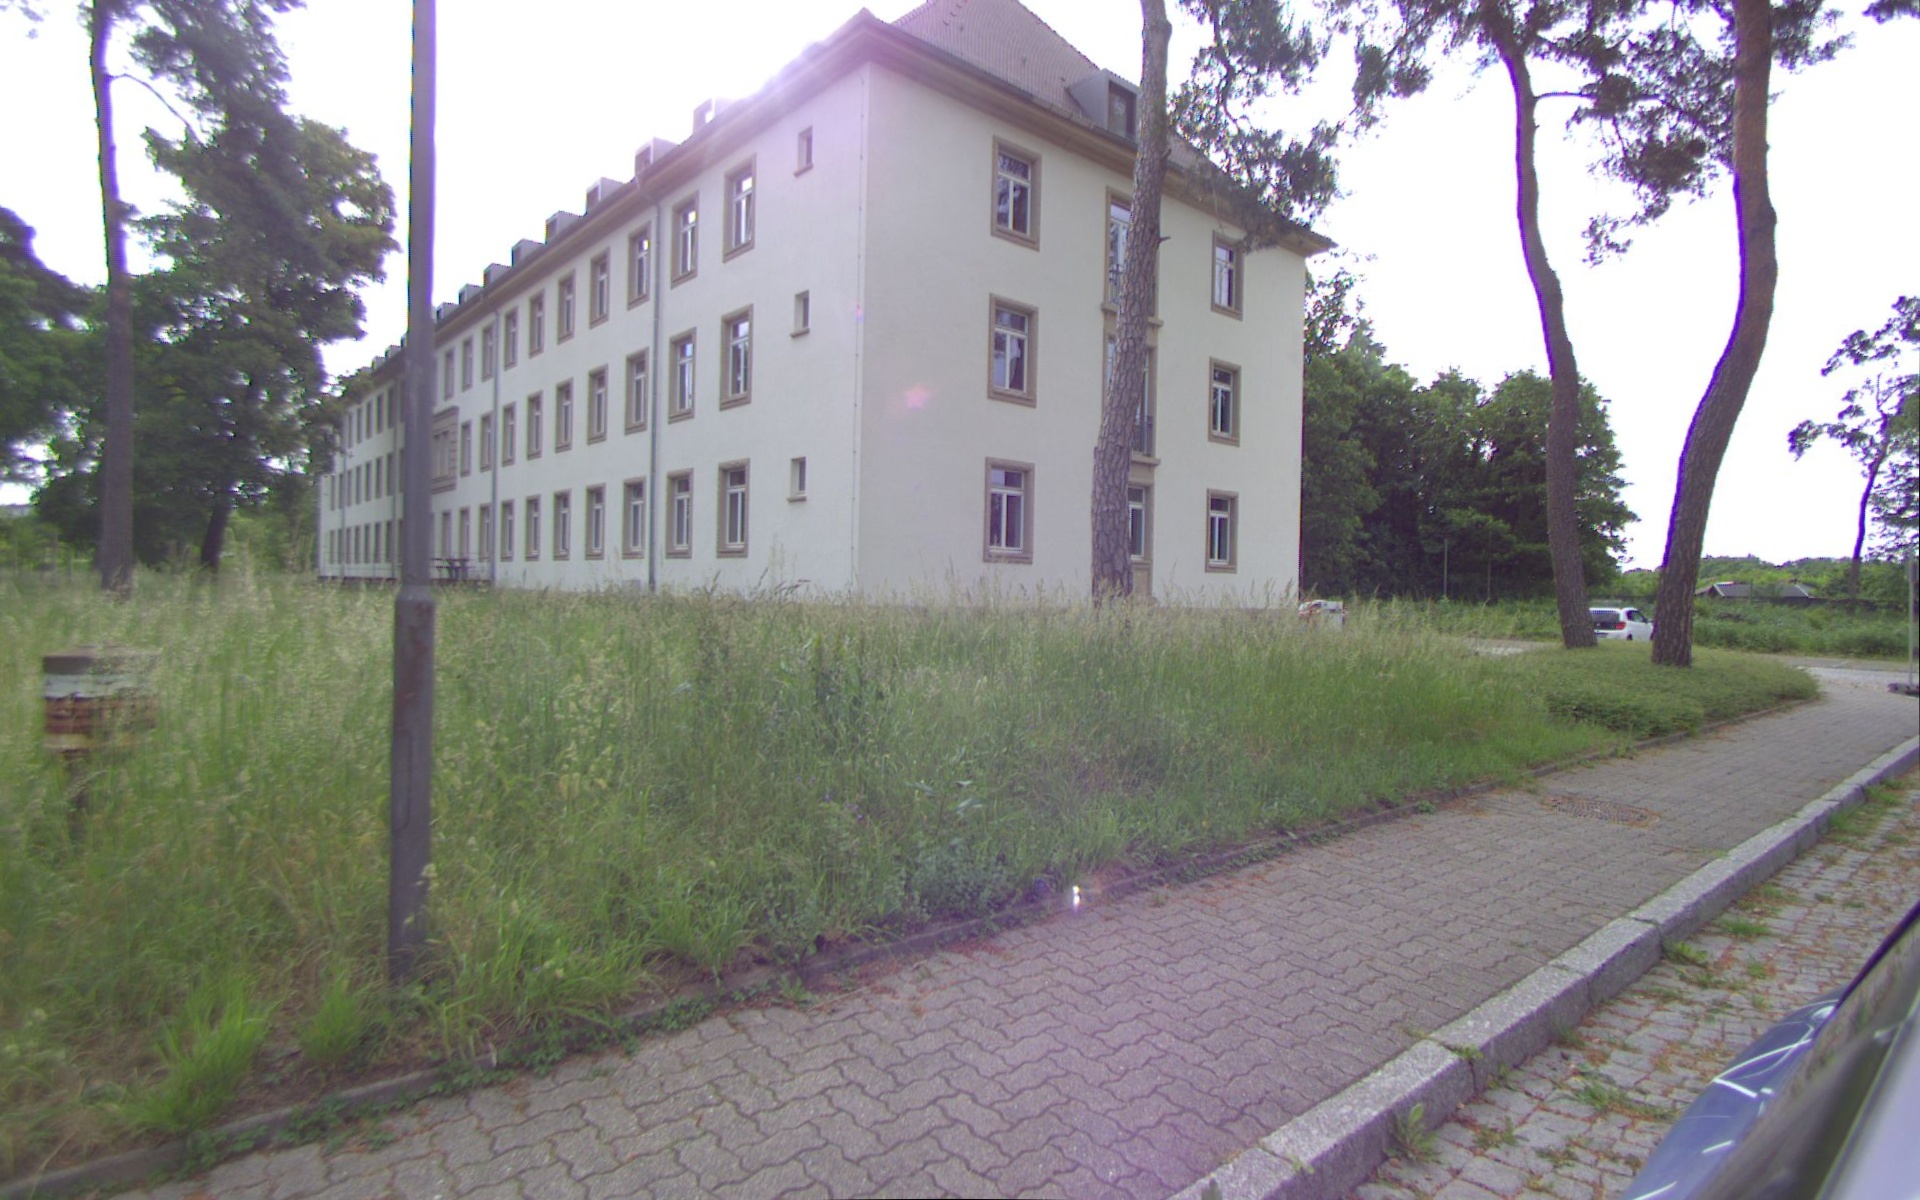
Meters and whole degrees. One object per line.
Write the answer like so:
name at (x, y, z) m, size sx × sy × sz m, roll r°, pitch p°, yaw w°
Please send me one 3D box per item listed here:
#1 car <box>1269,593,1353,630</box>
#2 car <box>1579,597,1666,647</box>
car at (14.731, 0.453, 42.383) m, size 3.931 × 1.345 × 1.640 m, roll -2°, pitch 2°, yaw -41°
car at (22.231, 0.691, 33.939) m, size 3.221 × 1.451 × 1.640 m, roll -2°, pitch 3°, yaw -41°
